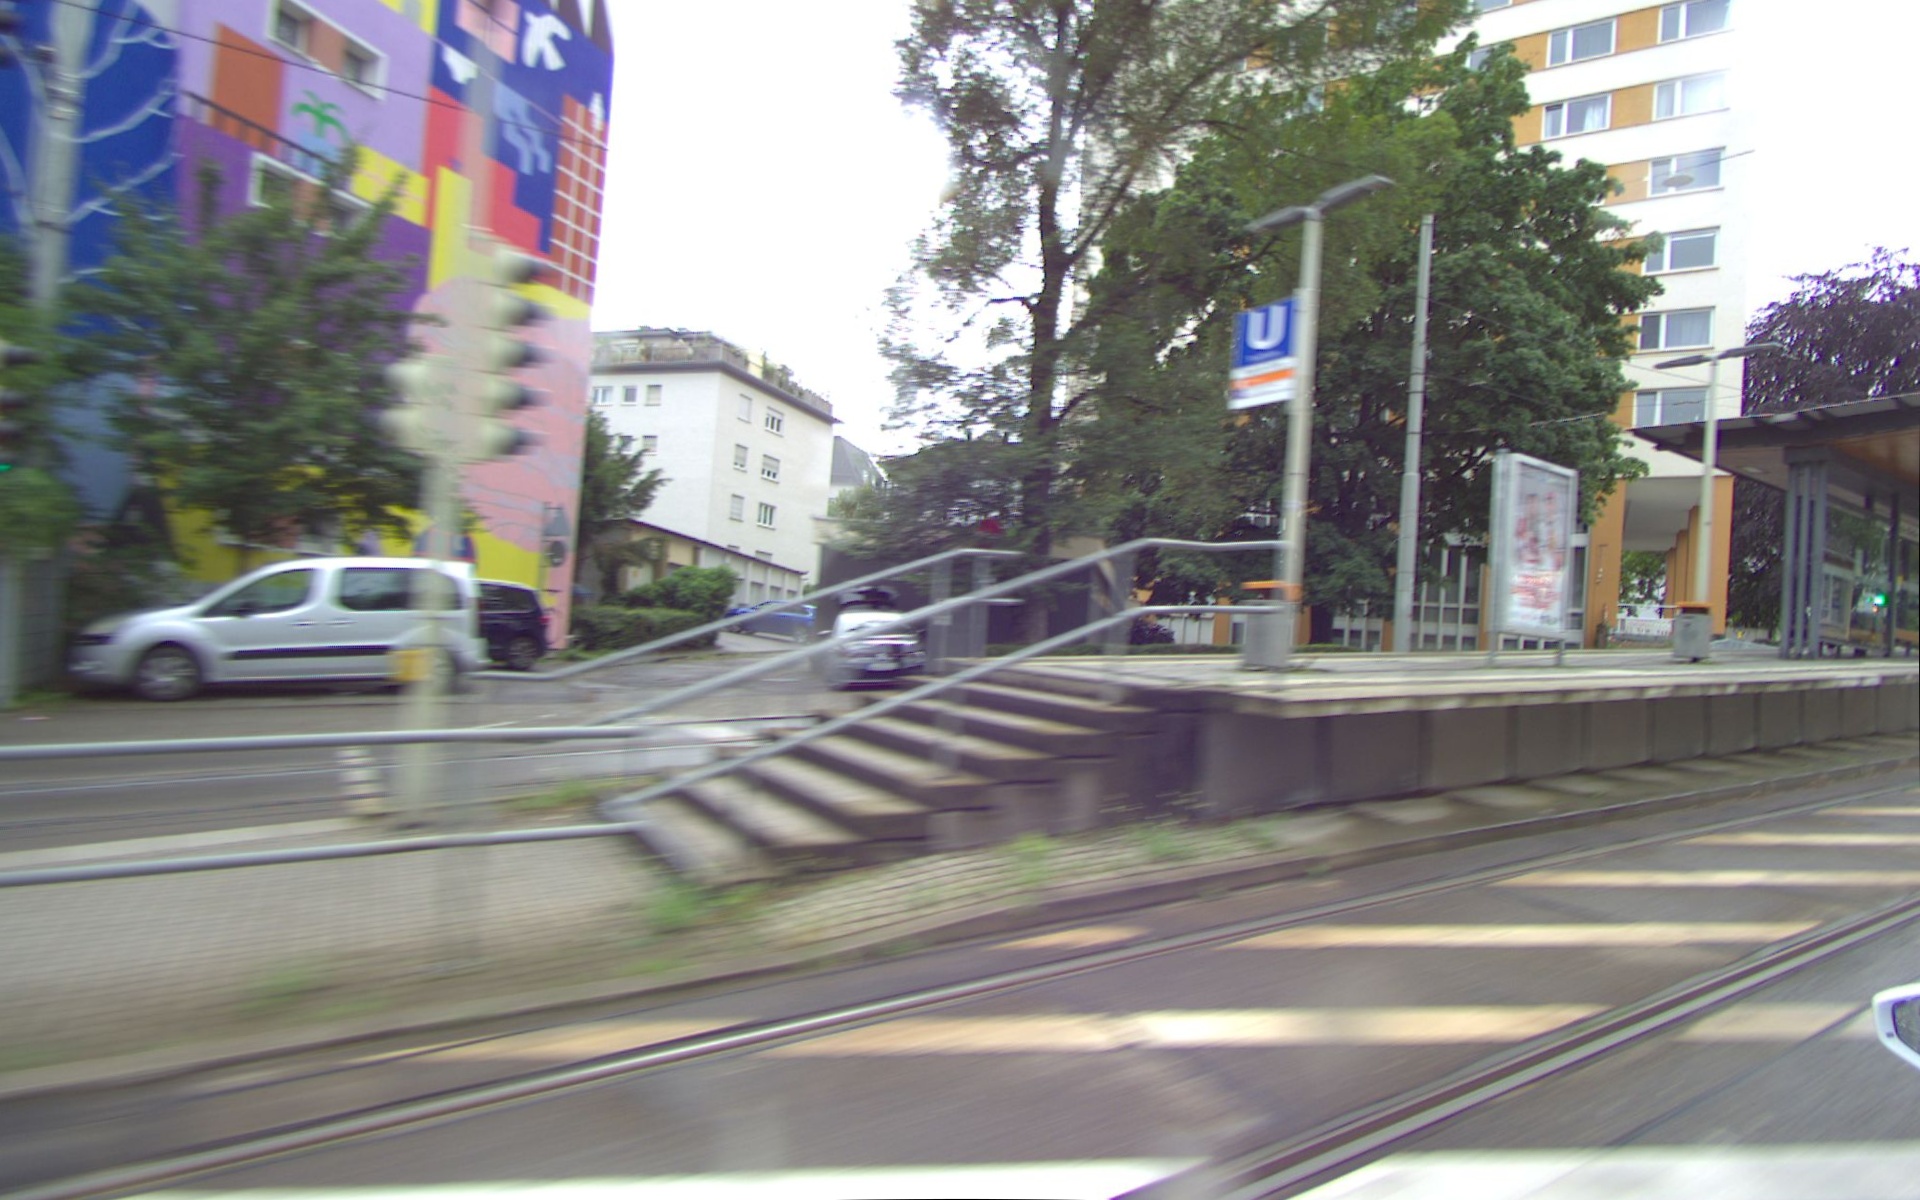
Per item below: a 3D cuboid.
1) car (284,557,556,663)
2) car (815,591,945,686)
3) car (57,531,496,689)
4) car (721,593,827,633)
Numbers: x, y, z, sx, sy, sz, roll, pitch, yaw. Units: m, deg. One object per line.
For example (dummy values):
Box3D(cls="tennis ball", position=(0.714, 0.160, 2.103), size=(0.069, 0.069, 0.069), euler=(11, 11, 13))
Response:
Box3D(cls="car", position=(-9.488, 0.242, 17.993), size=(1.680, 1.659, 3.949), euler=(1, -3, 28))
Box3D(cls="car", position=(-1.638, 0.645, 18.947), size=(1.911, 1.563, 4.484), euler=(1, 0, -11))
Box3D(cls="car", position=(-8.531, 0.134, 12.966), size=(4.395, 1.740, 1.736), euler=(1, 0, -34))
Box3D(cls="car", position=(-6.966, 0.474, 37.804), size=(3.563, 1.314, 1.651), euler=(2, 2, 4))
